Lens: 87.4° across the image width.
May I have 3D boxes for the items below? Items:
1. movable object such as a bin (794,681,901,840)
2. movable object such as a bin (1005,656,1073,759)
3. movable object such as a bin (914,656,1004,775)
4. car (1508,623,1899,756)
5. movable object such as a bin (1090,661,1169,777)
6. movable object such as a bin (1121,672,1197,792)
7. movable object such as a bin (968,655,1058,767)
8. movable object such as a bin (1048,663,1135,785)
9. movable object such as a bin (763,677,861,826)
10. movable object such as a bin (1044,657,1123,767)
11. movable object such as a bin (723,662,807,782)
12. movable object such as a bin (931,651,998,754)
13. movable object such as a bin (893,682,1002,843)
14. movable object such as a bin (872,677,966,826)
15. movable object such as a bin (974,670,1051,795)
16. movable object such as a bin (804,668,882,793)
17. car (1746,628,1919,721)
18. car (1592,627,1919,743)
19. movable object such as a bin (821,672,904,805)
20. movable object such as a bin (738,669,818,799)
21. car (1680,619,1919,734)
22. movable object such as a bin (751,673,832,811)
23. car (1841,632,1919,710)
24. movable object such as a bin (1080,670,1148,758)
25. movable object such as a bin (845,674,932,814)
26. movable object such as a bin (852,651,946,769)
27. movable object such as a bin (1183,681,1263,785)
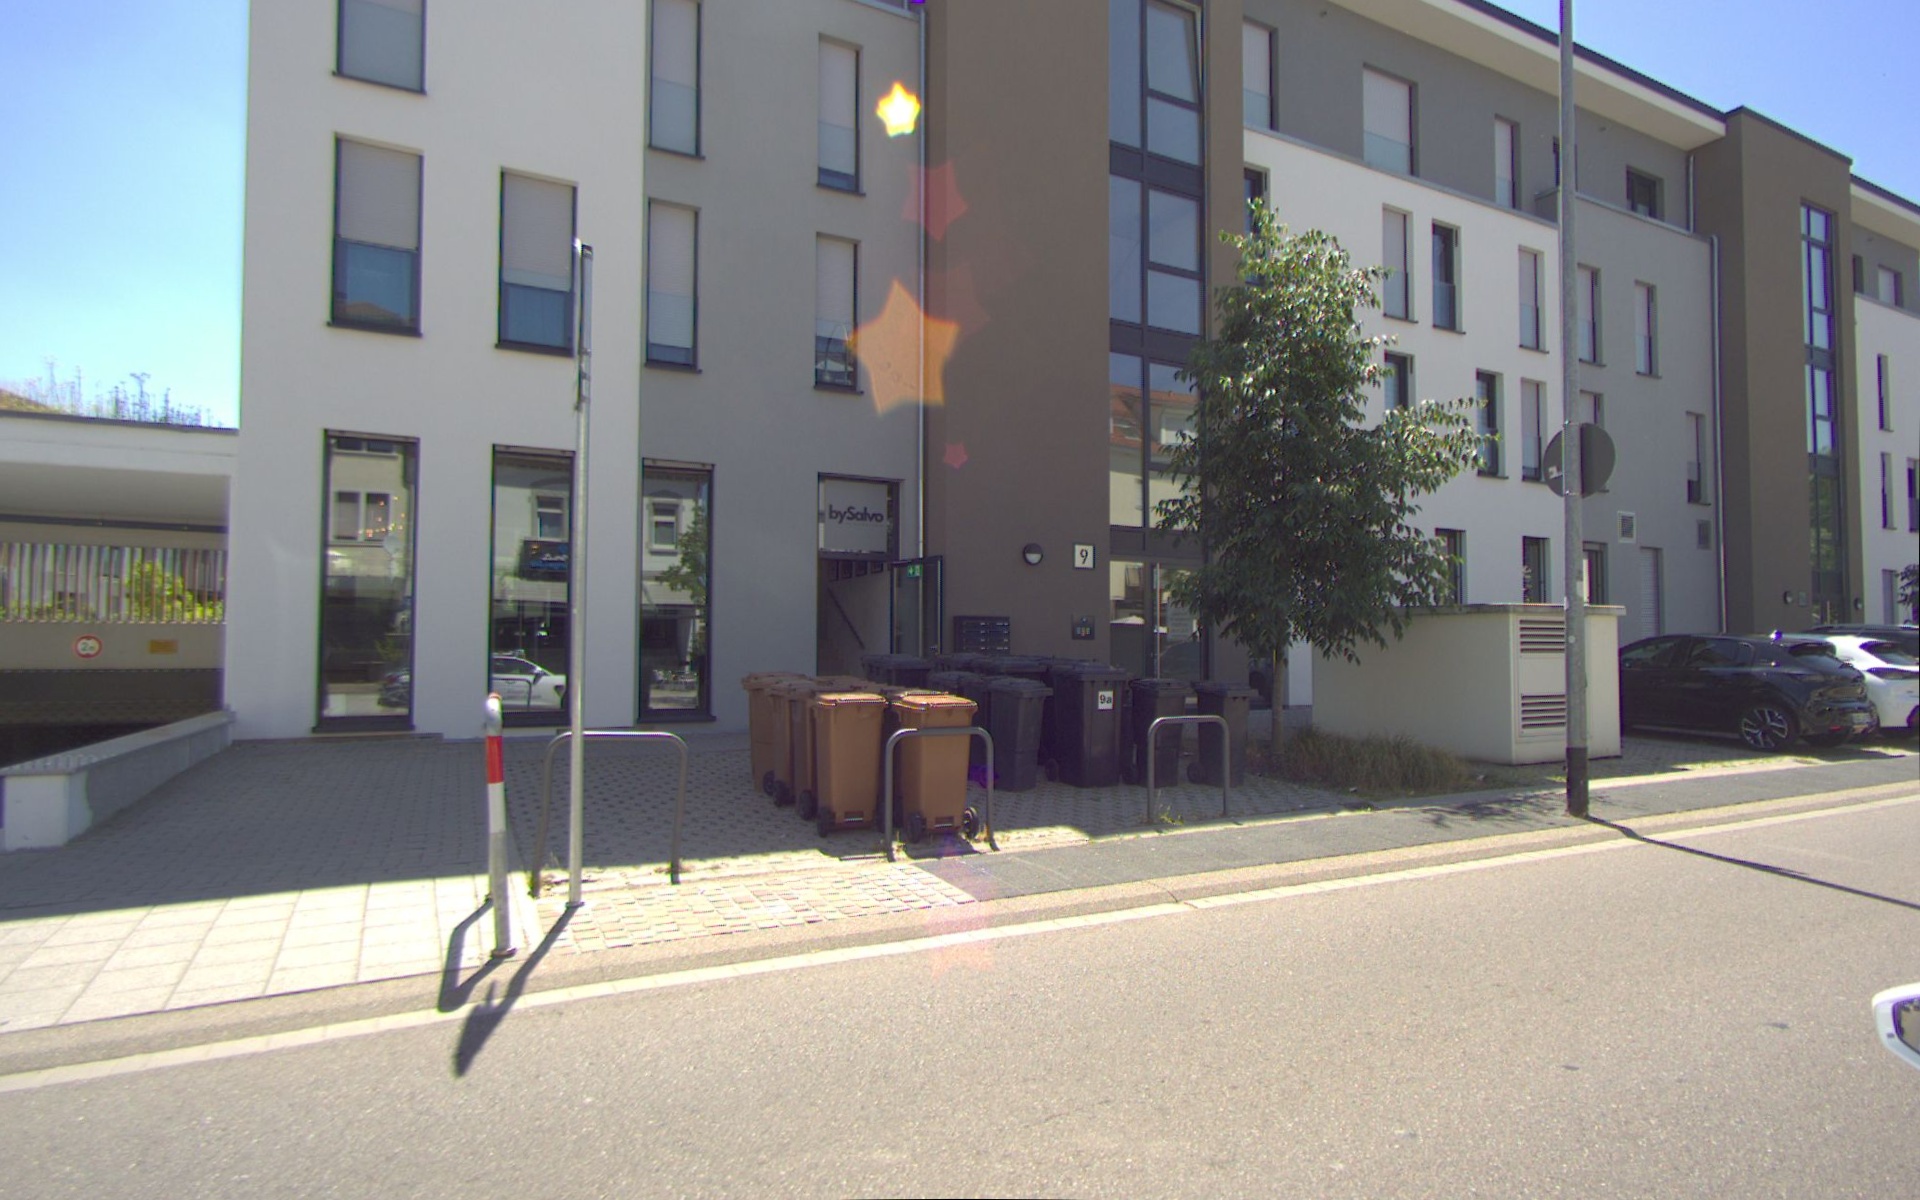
[{"bbox_3d":[-0.778,1.078,6.926,0.581,1.011,0.480,2,-2,-31],"label":"movable object such as a bin"},{"bbox_3d":[0.853,1.136,10.807,0.478,1.052,0.548,2,-3,-44],"label":"movable object such as a bin"},{"bbox_3d":[-0.012,1.063,9.437,0.579,1.052,0.613,2,-3,-44],"label":"movable object such as a bin"},{"bbox_3d":[10.142,1.111,14.064,1.974,1.535,3.974,1,-1,-26],"label":"car"},{"bbox_3d":[1.632,1.120,9.670,0.541,1.052,0.548,2,-3,-44],"label":"movable object such as a bin"},{"bbox_3d":[1.777,1.159,8.997,0.421,1.011,0.552,1,-2,-25],"label":"movable object such as a bin"},{"bbox_3d":[0.523,1.074,9.967,0.601,1.052,0.669,2,-3,-44],"label":"movable object such as a bin"},{"bbox_3d":[1.170,1.086,8.996,0.554,1.033,0.551,2,-2,-32],"label":"movable object such as a bin"},{"bbox_3d":[-1.087,1.078,7.351,0.580,1.011,0.481,2,-2,-28],"label":"movable object such as a bin"},{"bbox_3d":[1.243,1.102,10.108,0.547,1.052,0.570,2,-3,-44],"label":"movable object such as a bin"},{"bbox_3d":[-1.728,1.059,8.917,0.582,1.011,0.480,2,-2,-34],"label":"movable object such as a bin"},{"bbox_3d":[0.047,1.078,10.746,0.478,1.052,0.548,2,-3,-44],"label":"movable object such as a bin"},{"bbox_3d":[-0.086,1.074,6.829,0.581,1.011,0.481,2,-2,-29],"label":"movable object such as a bin"},{"bbox_3d":[-0.297,1.069,7.248,0.549,1.011,0.401,2,-2,-29],"label":"movable object such as a bin"},{"bbox_3d":[0.446,1.118,8.645,0.401,1.011,0.549,2,-3,-40],"label":"movable object such as a bin"},{"bbox_3d":[-1.004,1.099,8.618,0.549,1.011,0.401,2,-2,-29],"label":"movable object such as a bin"},{"bbox_3d":[16.676,1.296,17.706,1.973,1.516,4.021,2,-1,-24],"label":"car"},{"bbox_3d":[12.086,1.170,15.116,1.885,1.440,3.974,2,-1,-26],"label":"car"},{"bbox_3d":[-0.784,1.092,8.075,0.549,1.011,0.401,2,-2,-29],"label":"movable object such as a bin"},{"bbox_3d":[-1.505,1.087,8.297,0.520,1.011,0.481,2,-2,-28],"label":"movable object such as a bin"},{"bbox_3d":[14.332,1.161,16.187,1.973,1.673,4.021,2,-1,-24],"label":"car"},{"bbox_3d":[-1.318,1.084,7.840,0.517,1.011,0.423,2,-2,-27],"label":"movable object such as a bin"},{"bbox_3d":[19.227,1.351,18.540,1.973,1.449,4.021,2,-1,-24],"label":"car"},{"bbox_3d":[1.648,1.204,10.758,0.478,0.879,0.548,2,-3,-44],"label":"movable object such as a bin"},{"bbox_3d":[-0.549,1.079,7.687,0.549,1.011,0.401,2,-2,-29],"label":"movable object such as a bin"},{"bbox_3d":[-0.614,1.075,10.056,0.643,1.110,0.685,2,-3,-44],"label":"movable object such as a bin"},{"bbox_3d":[2.393,1.192,9.145,0.478,0.879,0.548,2,-3,-44],"label":"movable object such as a bin"}]
